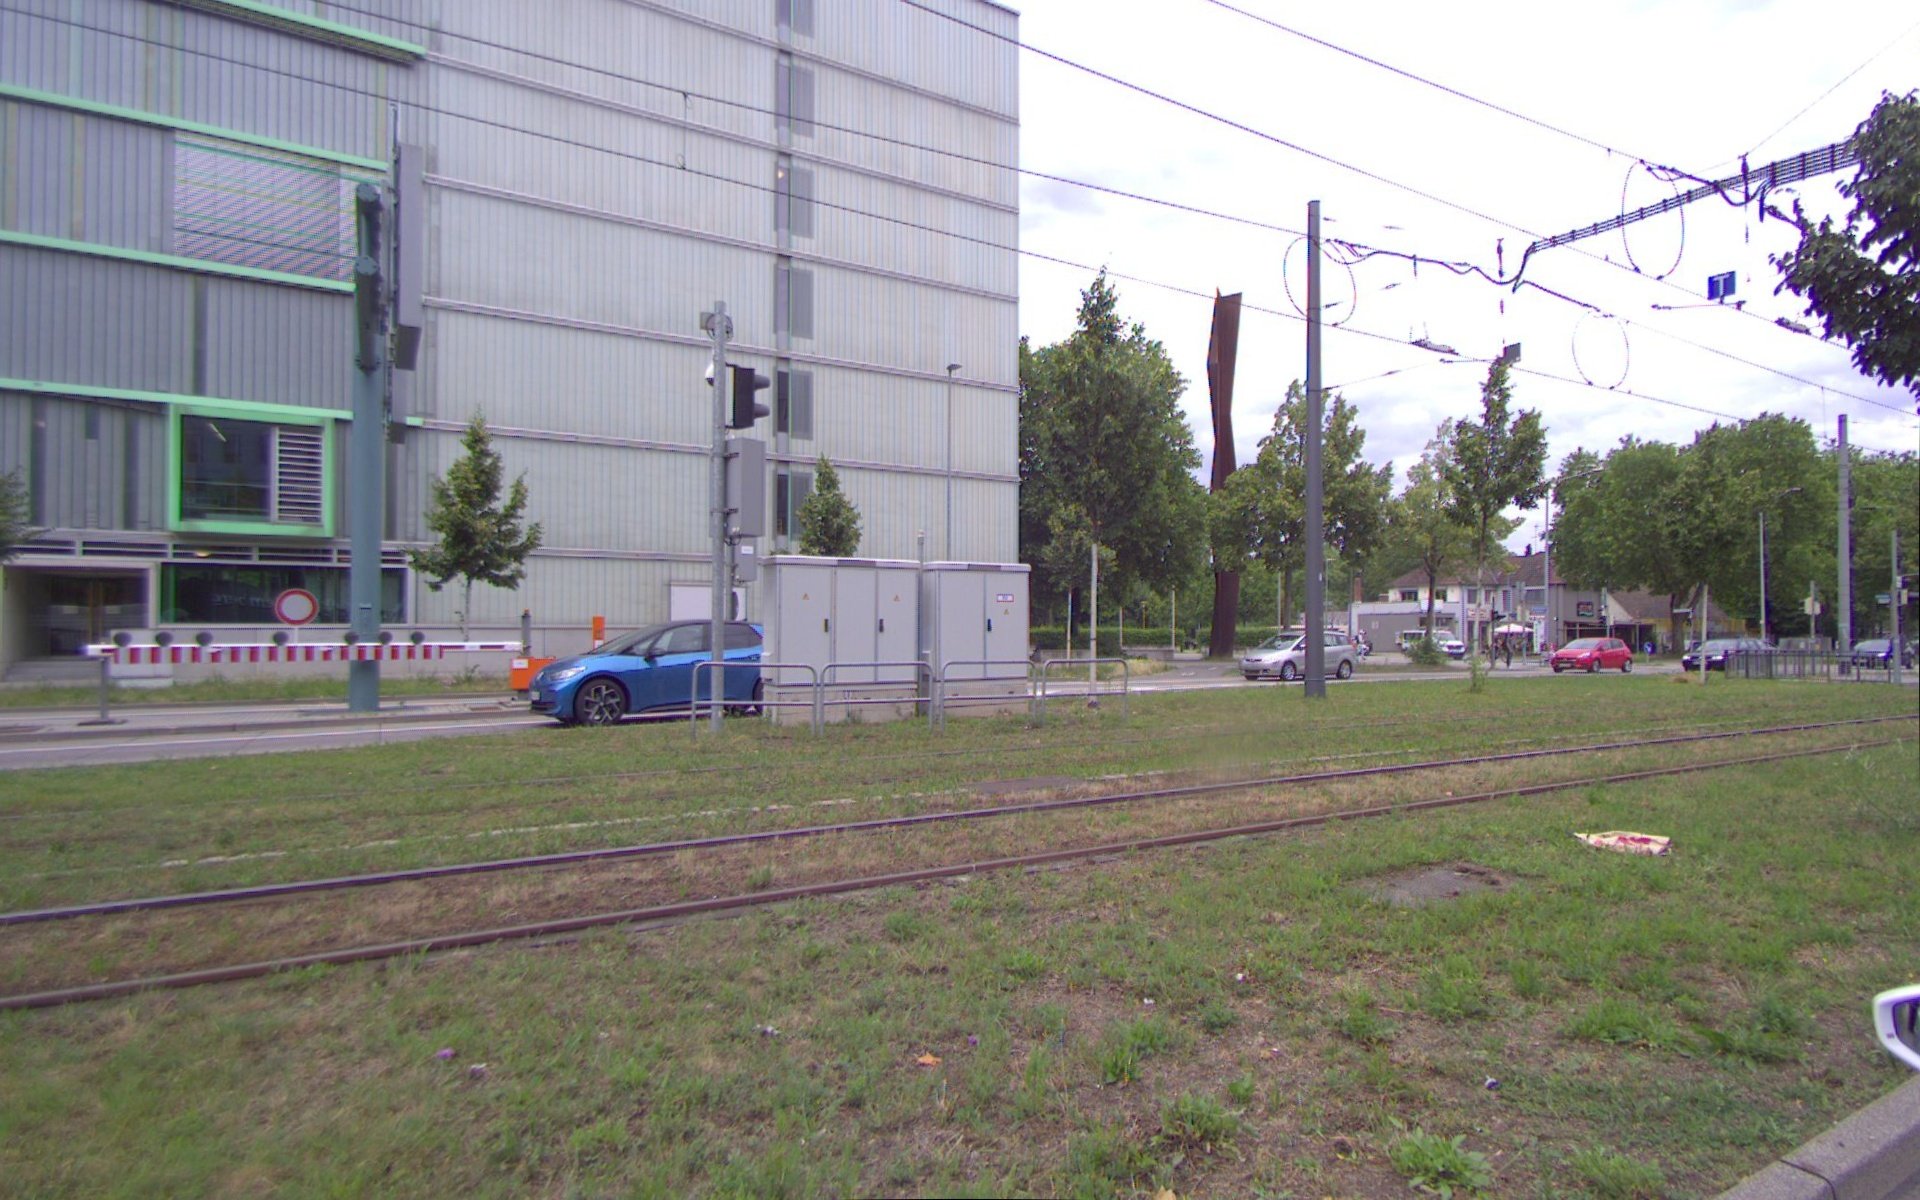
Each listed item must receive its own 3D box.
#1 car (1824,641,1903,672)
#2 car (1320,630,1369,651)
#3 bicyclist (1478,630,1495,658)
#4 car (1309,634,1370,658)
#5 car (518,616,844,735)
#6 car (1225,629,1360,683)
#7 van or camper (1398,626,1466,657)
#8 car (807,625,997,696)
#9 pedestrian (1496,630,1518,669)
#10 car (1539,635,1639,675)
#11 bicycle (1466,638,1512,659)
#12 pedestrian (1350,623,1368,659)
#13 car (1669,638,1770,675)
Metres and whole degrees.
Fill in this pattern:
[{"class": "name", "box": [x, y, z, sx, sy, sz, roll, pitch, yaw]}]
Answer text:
[{"class": "car", "box": [44.259, 2.741, 49.209, 4.011, 1.395, 1.792, 1, -2, -31]}, {"class": "car", "box": [35.549, 3.759, 92.837, 1.974, 1.873, 3.973, 1, -1, -27]}, {"class": "bicyclist", "box": [32.726, 2.711, 62.427, 0.838, 1.744, 0.719, 0, -1, 34]}, {"class": "car", "box": [29.872, 3.596, 79.193, 2.078, 1.840, 4.268, 1, -1, -25]}, {"class": "car", "box": [-4.357, 1.088, 16.025, 4.645, 1.609, 1.950, 1, -1, -37]}, {"class": "car", "box": [11.040, 1.792, 33.247, 4.623, 1.665, 1.711, 1, -2, -33]}, {"class": "van or camper", "box": [32.408, 2.790, 69.183, 2.416, 2.040, 5.283, 0, -1, 2]}, {"class": "car", "box": [-1.445, 1.530, 25.673, 4.529, 1.591, 1.786, 2, 0, -32]}, {"class": "pedestrian", "box": [26.795, 2.405, 49.215, 0.769, 1.856, 0.771, -1, -1, 43]}, {"class": "car", "box": [26.860, 2.326, 42.860, 4.275, 1.591, 1.788, 1, -1, -29]}, {"class": "bicycle", "box": [32.851, 3.000, 62.355, 2.474, 1.218, 0.738, -1, -1, 35]}, {"class": "pedestrian", "box": [22.669, 2.304, 57.095, 0.887, 2.040, 0.954, 0, -1, 18]}, {"class": "car", "box": [31.154, 2.294, 41.168, 4.692, 1.445, 1.655, 1, -3, -32]}]
